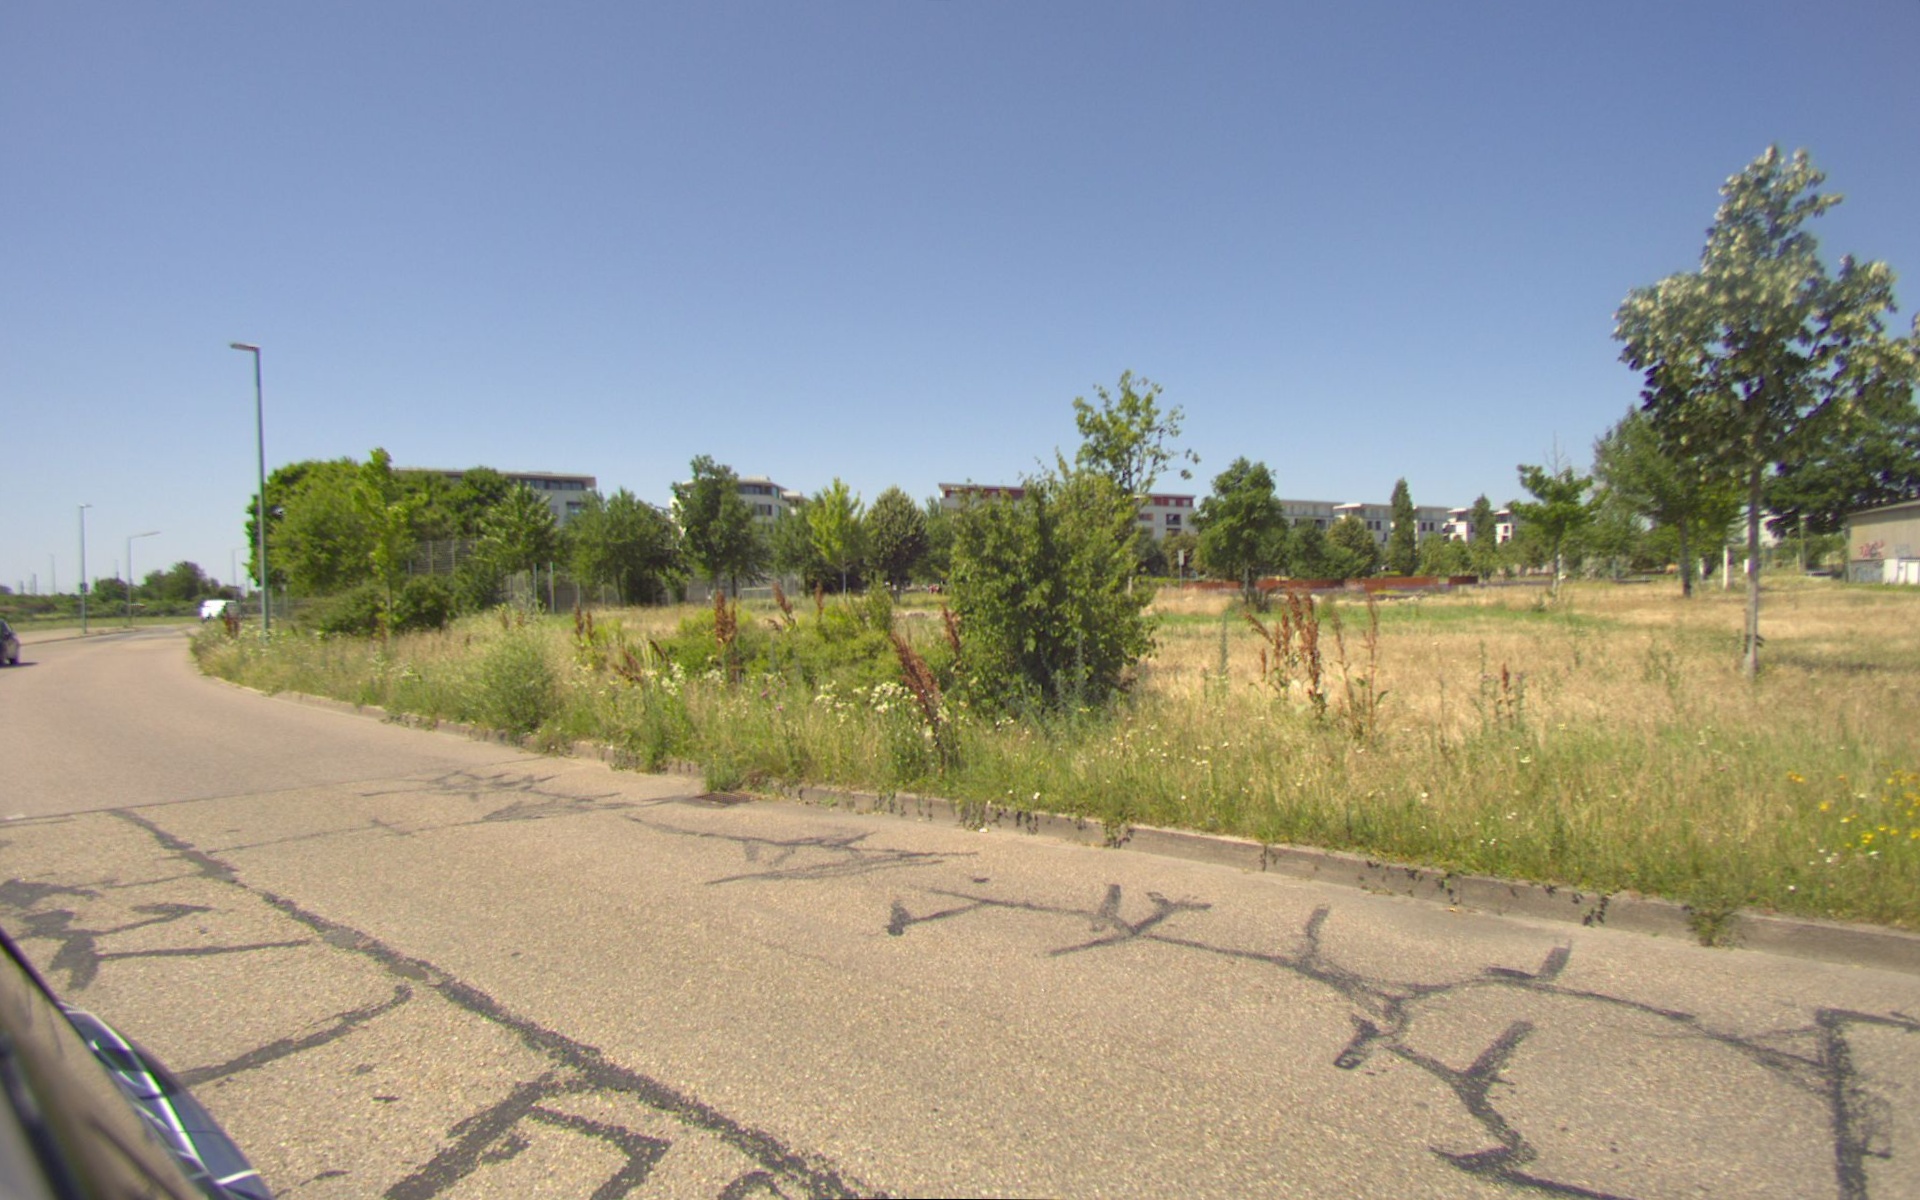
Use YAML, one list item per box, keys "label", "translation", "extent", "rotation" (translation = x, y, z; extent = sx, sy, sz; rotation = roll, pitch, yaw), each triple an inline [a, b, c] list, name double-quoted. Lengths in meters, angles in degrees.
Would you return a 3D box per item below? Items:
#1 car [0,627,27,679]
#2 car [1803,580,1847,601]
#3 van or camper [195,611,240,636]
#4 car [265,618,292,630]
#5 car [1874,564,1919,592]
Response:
- label: "car"
  translation: [-28.623, 1.552, 29.239]
  extent: [1.627, 1.477, 4.172]
  rotation: [-2, 0, -31]
- label: "car"
  translation: [71.204, -0.803, 83.353]
  extent: [1.580, 1.609, 3.554]
  rotation: [-2, 0, 21]
- label: "van or camper"
  translation: [-81.718, 2.560, 111.419]
  extent: [2.106, 2.592, 5.884]
  rotation: [-2, 0, -17]
- label: "car"
  translation: [-89.493, 3.186, 132.867]
  extent: [1.628, 1.477, 3.876]
  rotation: [-2, 0, -13]
- label: "car"
  translation: [64.405, -1.515, 69.084]
  extent: [1.745, 1.785, 3.554]
  rotation: [-2, 0, 21]
